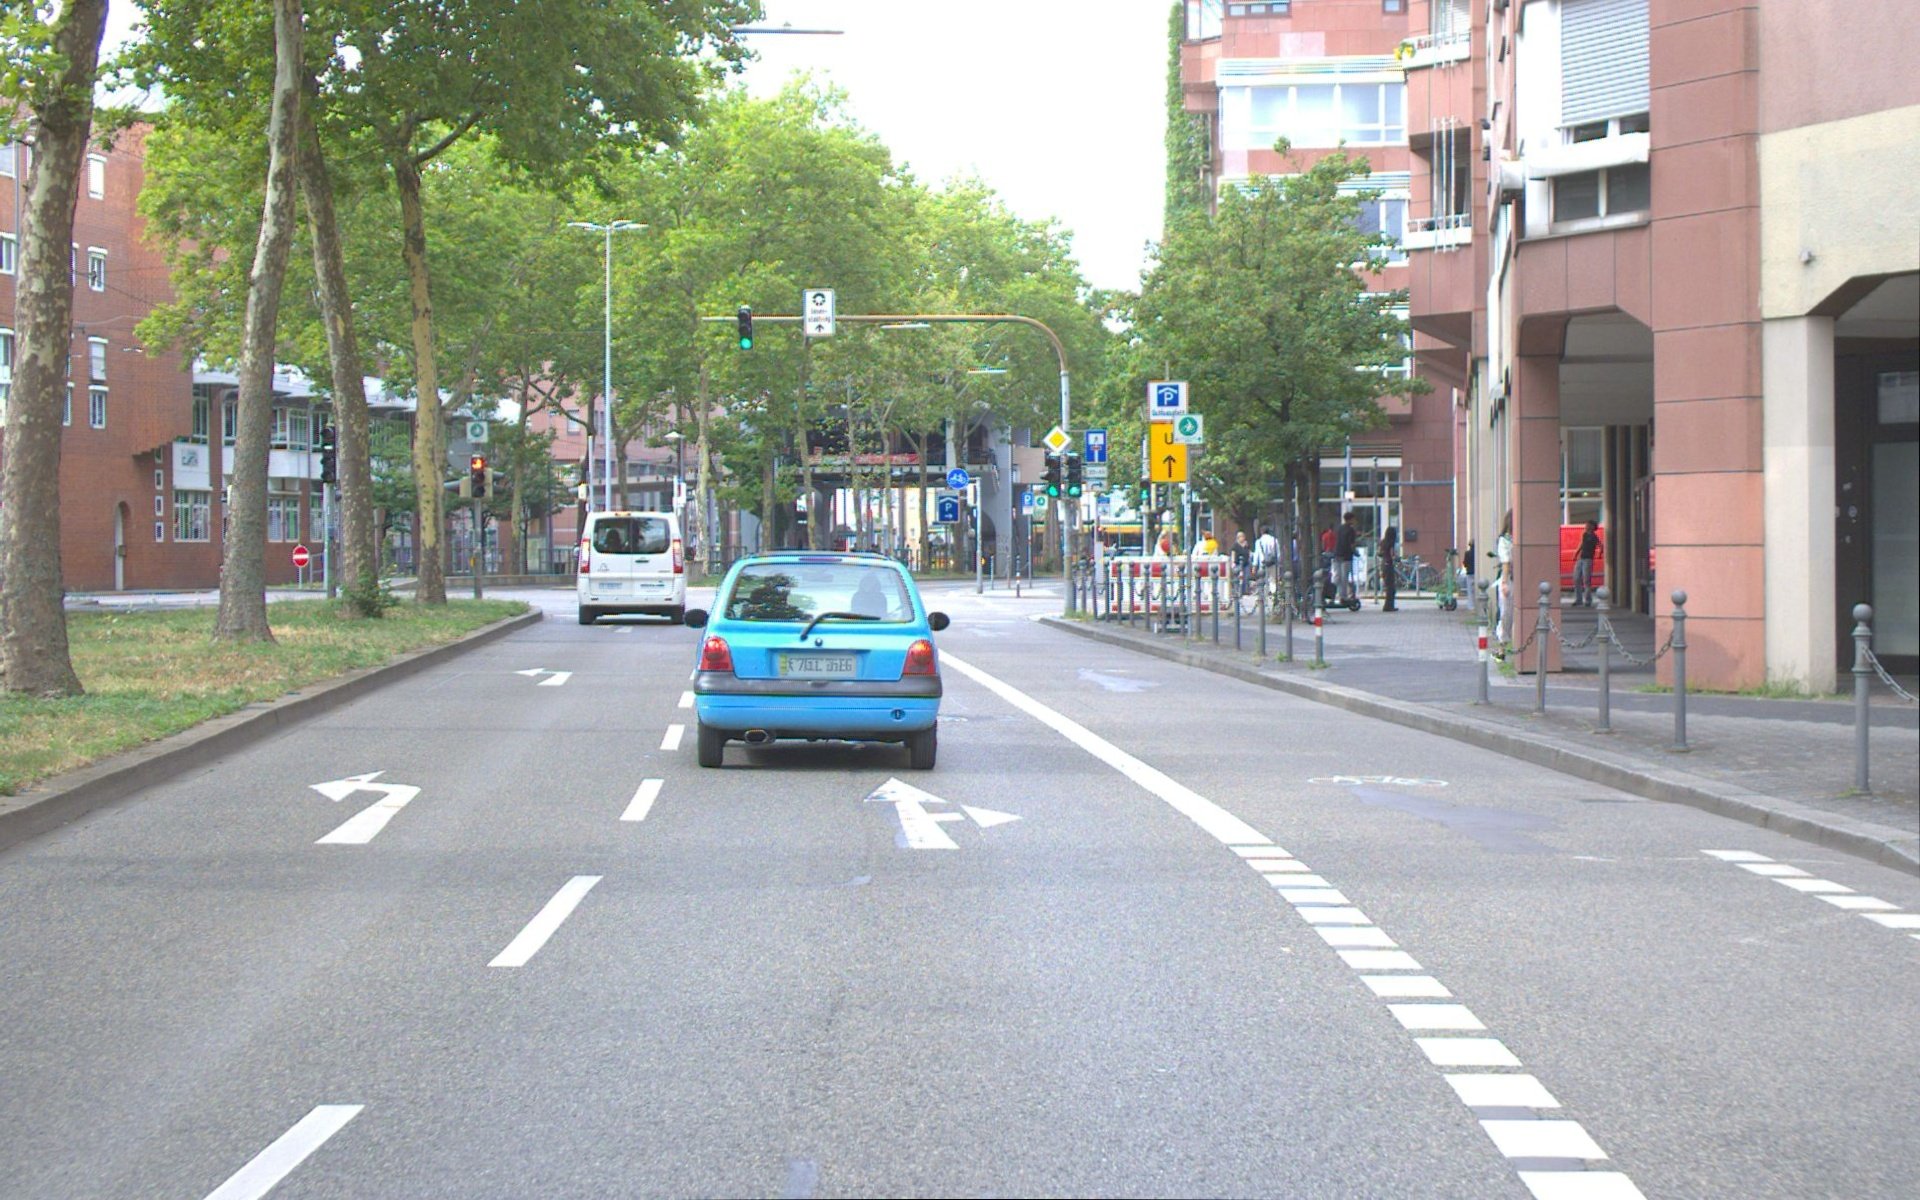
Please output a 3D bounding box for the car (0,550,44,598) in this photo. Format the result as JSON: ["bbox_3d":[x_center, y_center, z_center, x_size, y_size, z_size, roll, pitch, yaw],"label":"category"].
[{"bbox_3d":[-26.677,-0.735,95.165,1.729,1.241,4.535,0,1,-4],"label":"car"}]

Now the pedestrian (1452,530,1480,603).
[{"bbox_3d":[9.164,-0.605,62.277,0.487,1.319,0.485,0,1,11],"label":"pedestrian"}]

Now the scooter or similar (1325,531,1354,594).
[{"bbox_3d":[7.345,-0.736,66.565,0.474,1.202,1.330,0,1,3],"label":"scooter or similar"}]

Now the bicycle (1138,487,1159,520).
[{"bbox_3d":[5.850,-2.988,106.884,0.617,1.005,1.735,0,1,2],"label":"bicycle"}]

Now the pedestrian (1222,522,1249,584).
[{"bbox_3d":[6.893,-1.183,86.010,0.675,1.533,0.947,0,1,4],"label":"pedestrian"}]

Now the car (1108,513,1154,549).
[{"bbox_3d":[7.860,-3.164,157.438,1.699,1.596,3.999,0,1,9],"label":"car"}]

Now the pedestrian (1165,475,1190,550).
[{"bbox_3d":[4.744,-1.902,74.923,0.517,1.610,0.851,0,1,2],"label":"pedestrian"}]

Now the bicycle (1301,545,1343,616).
[{"bbox_3d":[5.851,-0.327,55.613,0.612,1.114,1.804,0,1,4],"label":"bicycle"}]

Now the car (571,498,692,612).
[{"bbox_3d":[-5.732,-0.830,60.389,1.931,1.919,4.956,0,2,-3],"label":"car"}]

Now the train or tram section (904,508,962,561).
[{"bbox_3d":[-1.656,-4.068,214.840,2.390,3.242,8.816,0,1,7],"label":"train or tram section"}]

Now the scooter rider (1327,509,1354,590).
[{"bbox_3d":[7.337,-0.980,66.277,0.460,1.552,0.565,0,1,1],"label":"scooter rider"}]

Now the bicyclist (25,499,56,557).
[{"bbox_3d":[-29.330,-2.301,109.684,0.667,1.842,1.081,-1,1,1],"label":"bicyclist"}]

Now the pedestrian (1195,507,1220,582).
[{"bbox_3d":[5.359,-1.211,74.522,0.517,1.610,0.851,0,1,3],"label":"pedestrian"}]

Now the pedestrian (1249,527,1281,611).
[{"bbox_3d":[6.690,-0.690,75.508,0.676,1.822,0.851,0,1,3],"label":"pedestrian"}]

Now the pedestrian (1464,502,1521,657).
[{"bbox_3d":[5.727,-0.225,36.969,0.544,1.644,0.825,0,1,13],"label":"pedestrian"}]

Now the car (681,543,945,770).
[{"bbox_3d":[-1.017,0.323,23.404,1.640,1.381,3.843,0,1,-3],"label":"car"}]
